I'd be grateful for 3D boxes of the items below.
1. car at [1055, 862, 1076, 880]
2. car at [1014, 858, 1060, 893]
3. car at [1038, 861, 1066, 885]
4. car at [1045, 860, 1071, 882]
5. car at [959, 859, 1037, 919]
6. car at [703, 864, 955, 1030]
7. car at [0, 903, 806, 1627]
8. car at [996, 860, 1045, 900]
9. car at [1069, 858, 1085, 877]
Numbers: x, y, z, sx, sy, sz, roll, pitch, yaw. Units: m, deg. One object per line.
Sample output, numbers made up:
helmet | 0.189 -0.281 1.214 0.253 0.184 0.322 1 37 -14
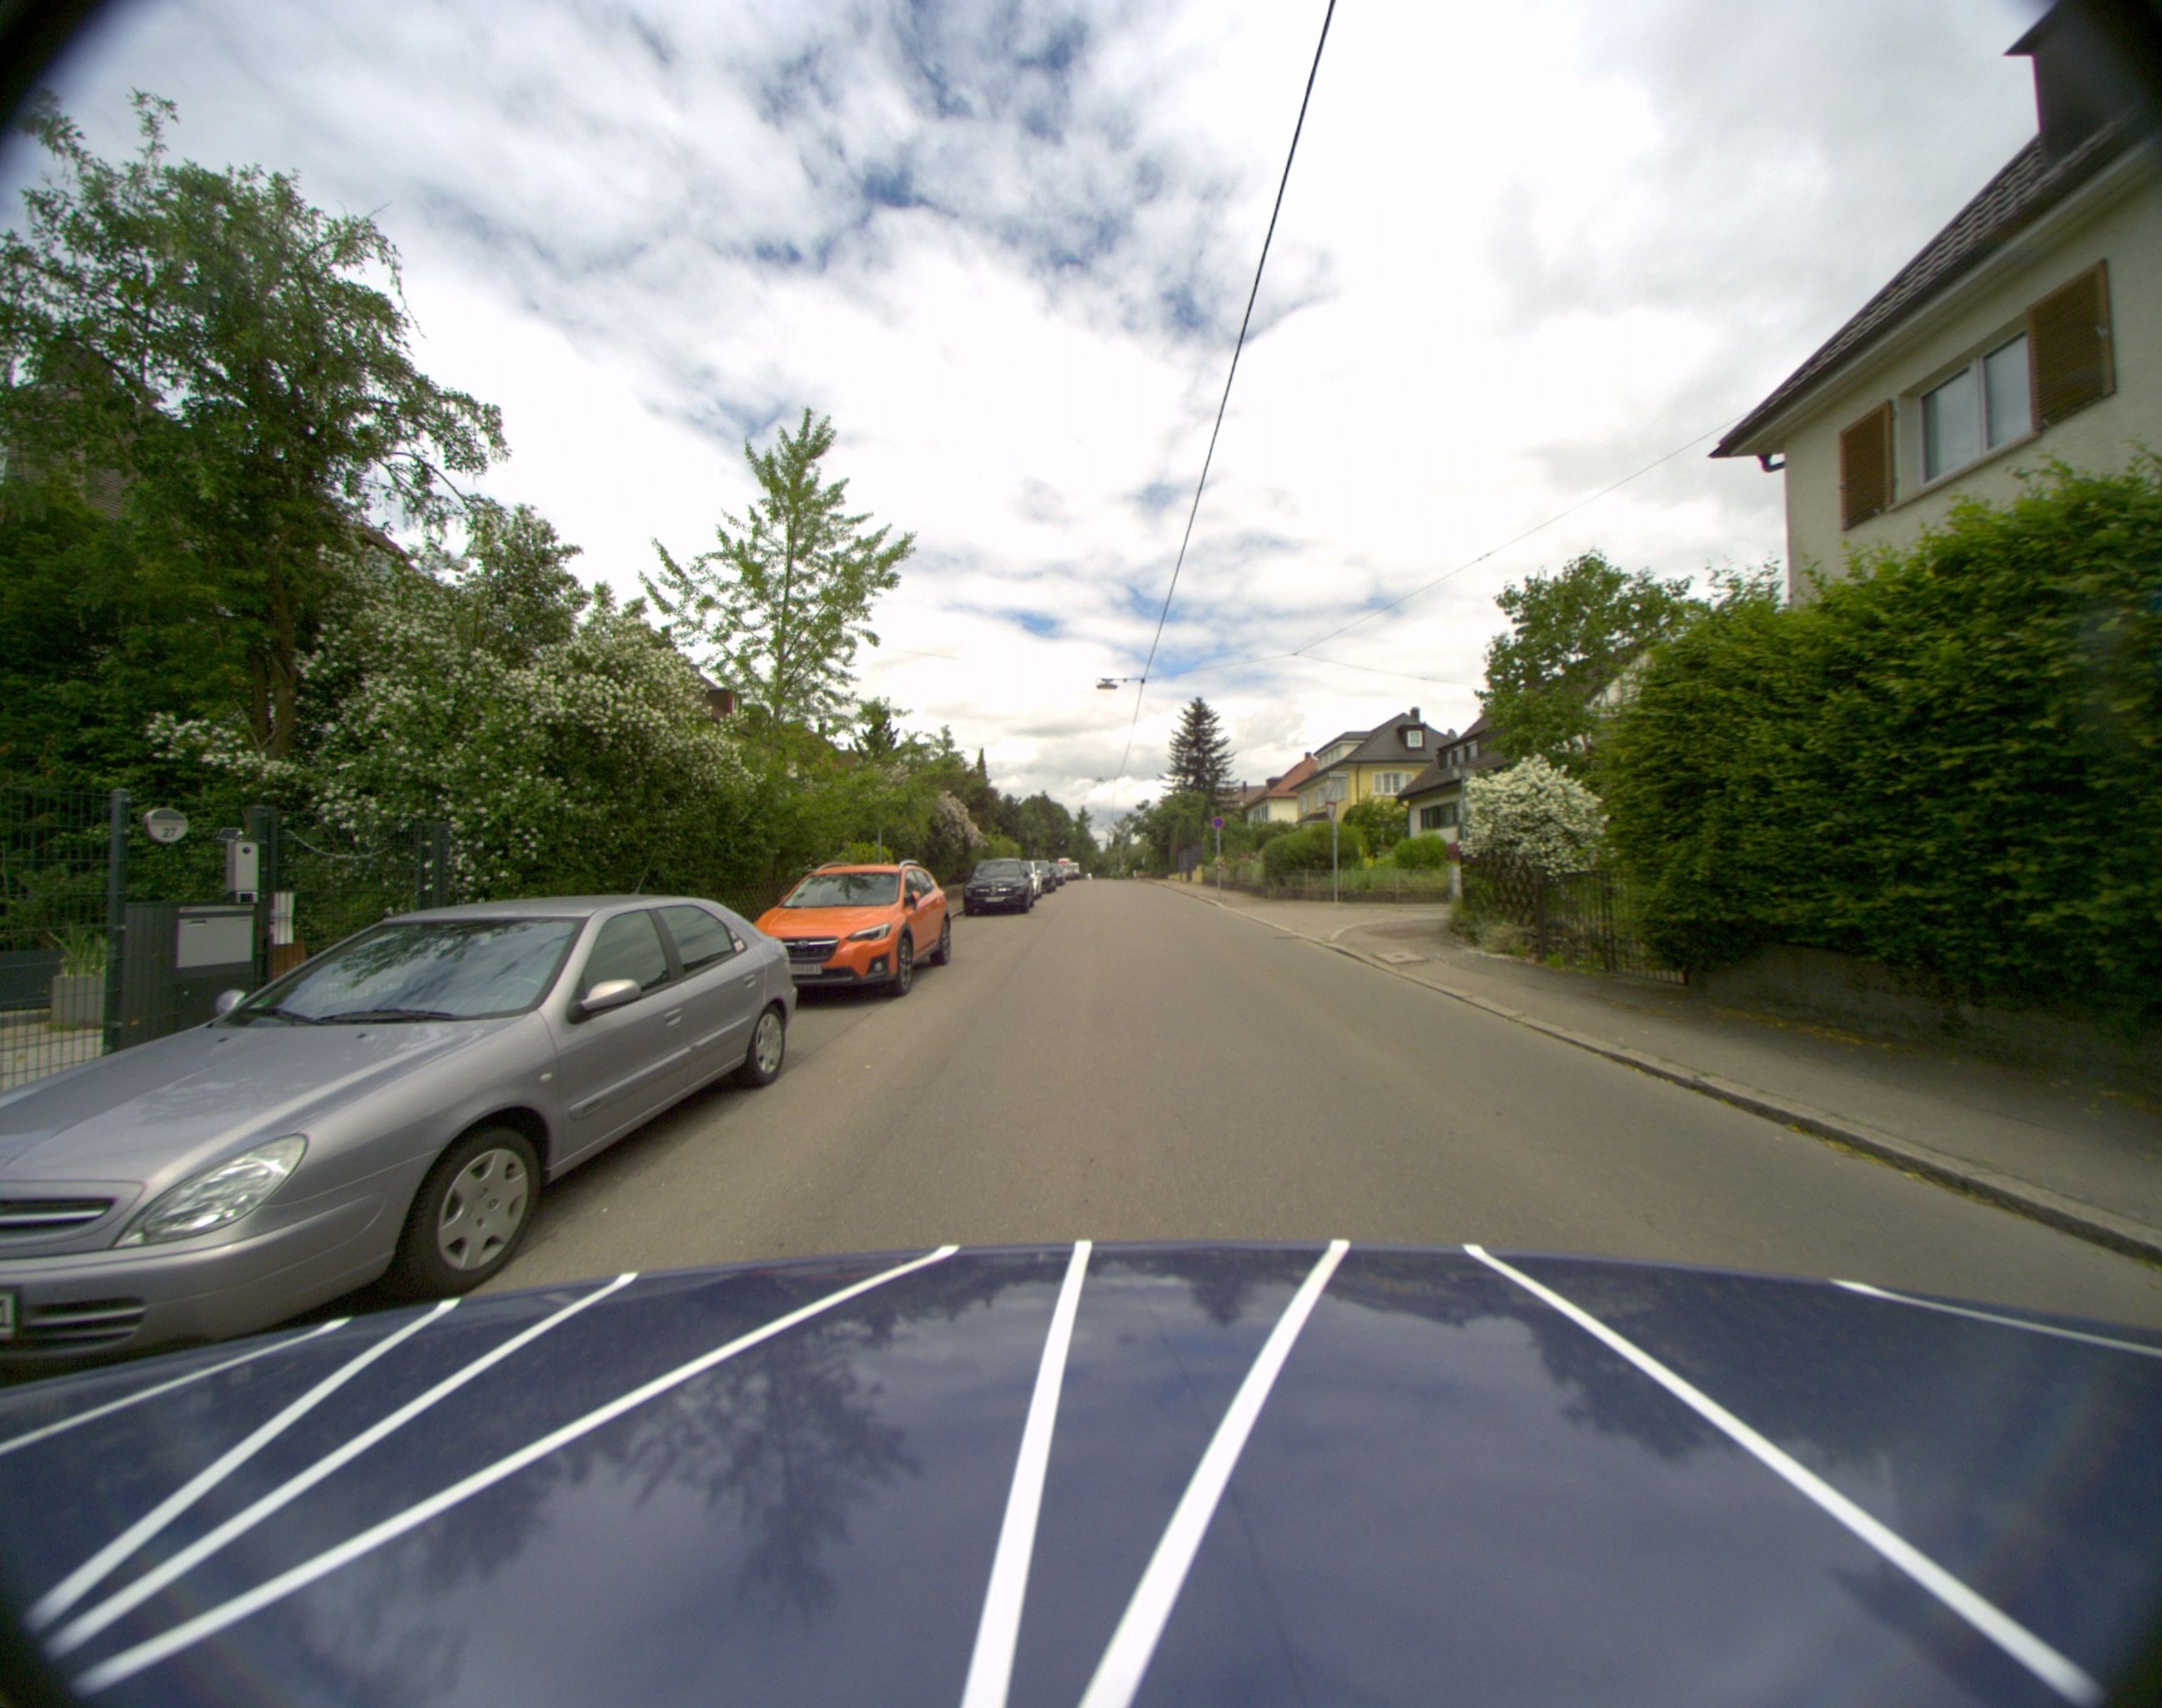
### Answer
car | -1.443 1.640 72.787 1.878 1.621 4.128 -1 -3 1
car | -2.131 1.012 37.513 1.805 1.582 4.142 -1 0 3
car | -1.884 1.195 49.410 1.721 1.451 4.141 -1 -1 -1
car | -1.586 1.204 54.339 1.761 1.468 4.358 -1 -1 -1
car | -2.470 1.010 23.739 1.955 1.617 4.376 -2 0 -1
car | -2.991 1.006 10.059 1.855 1.617 4.169 -2 0 0
car | -3.090 1.093 3.858 1.720 1.374 4.236 -1 0 1
car | -2.394 1.033 30.599 1.602 1.501 3.014 -1 -1 2
car | -0.482 1.610 92.489 1.854 2.210 5.368 -3 -1 0
